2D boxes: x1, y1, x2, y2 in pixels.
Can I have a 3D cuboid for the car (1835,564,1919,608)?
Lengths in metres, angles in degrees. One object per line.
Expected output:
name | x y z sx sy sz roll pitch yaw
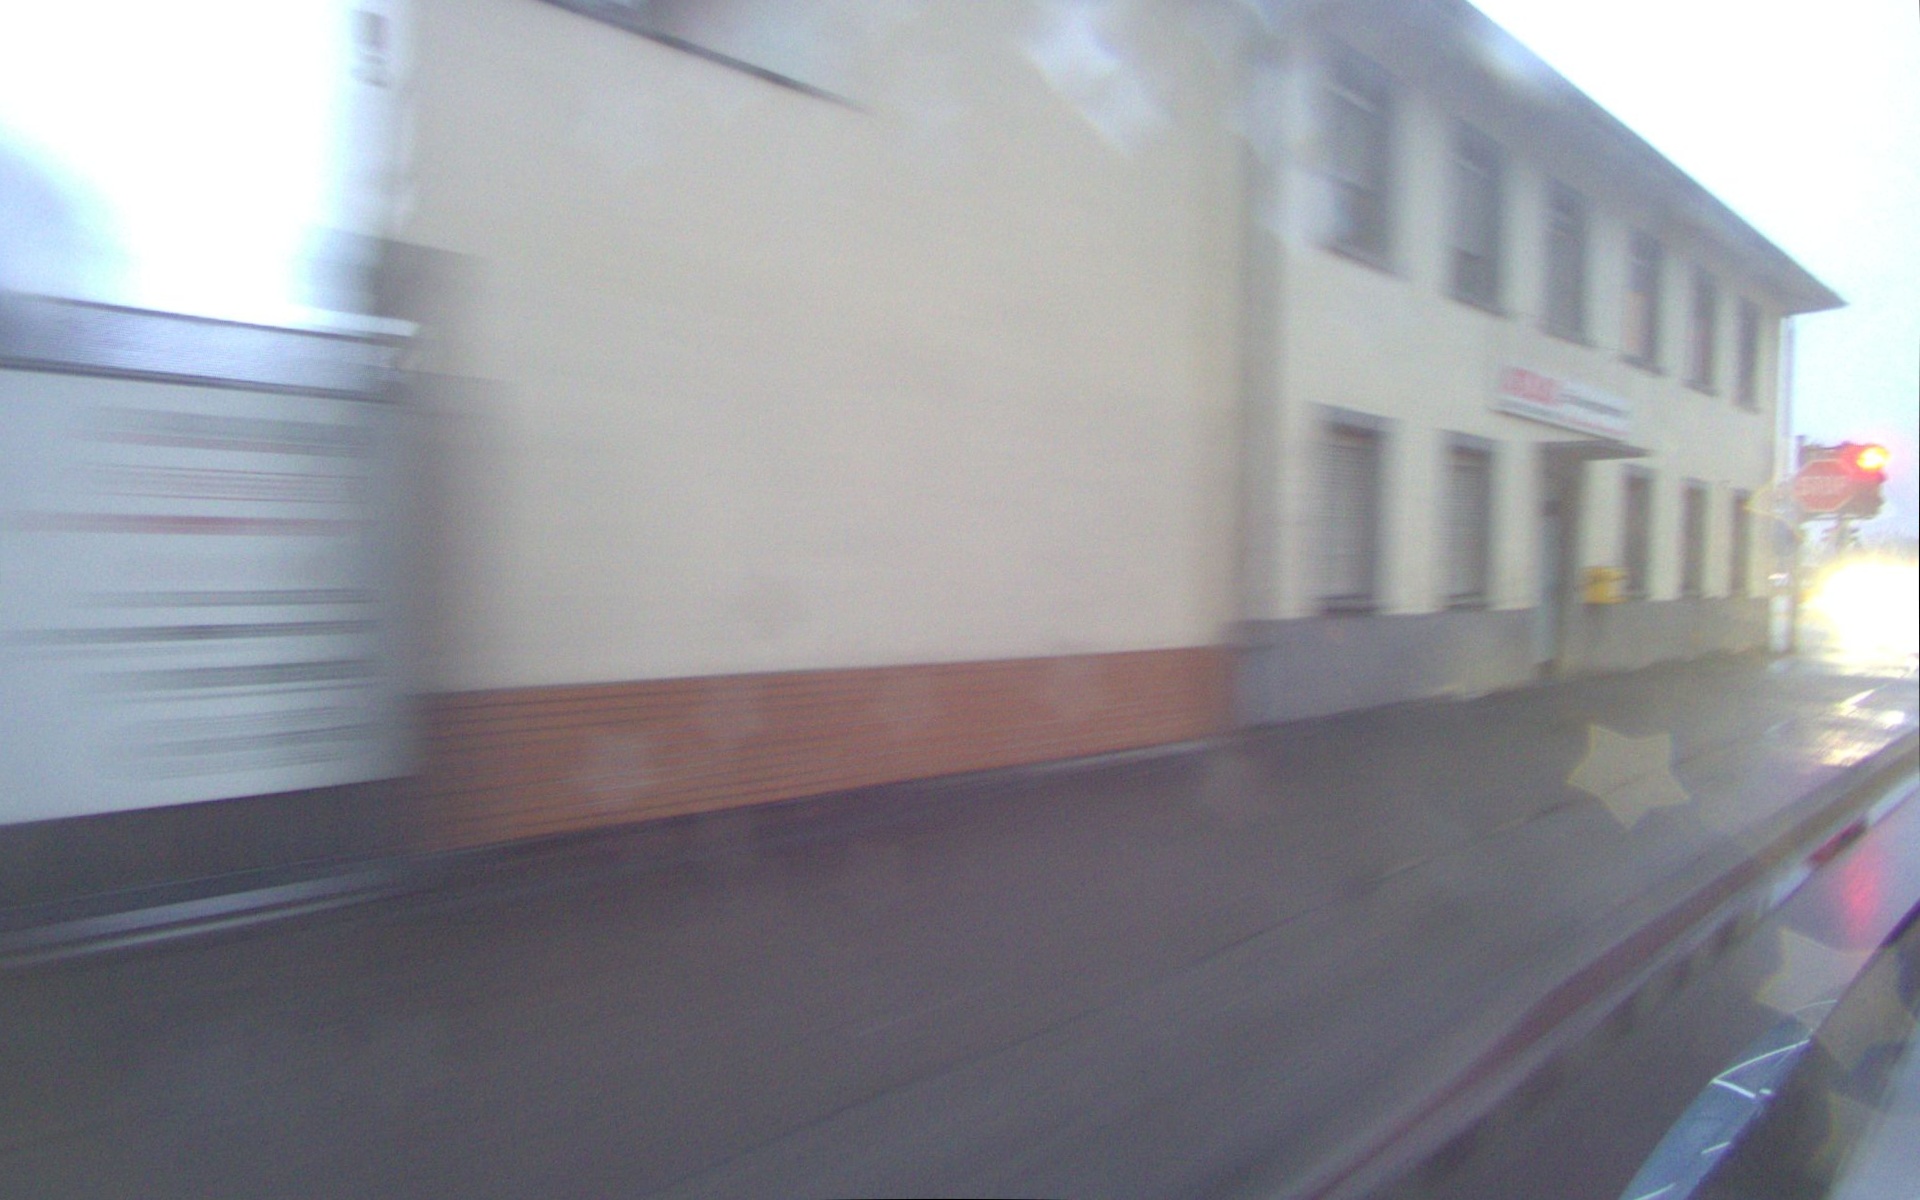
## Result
car | 39.342 -0.618 43.312 1.800 1.709 3.883 3 2 25
